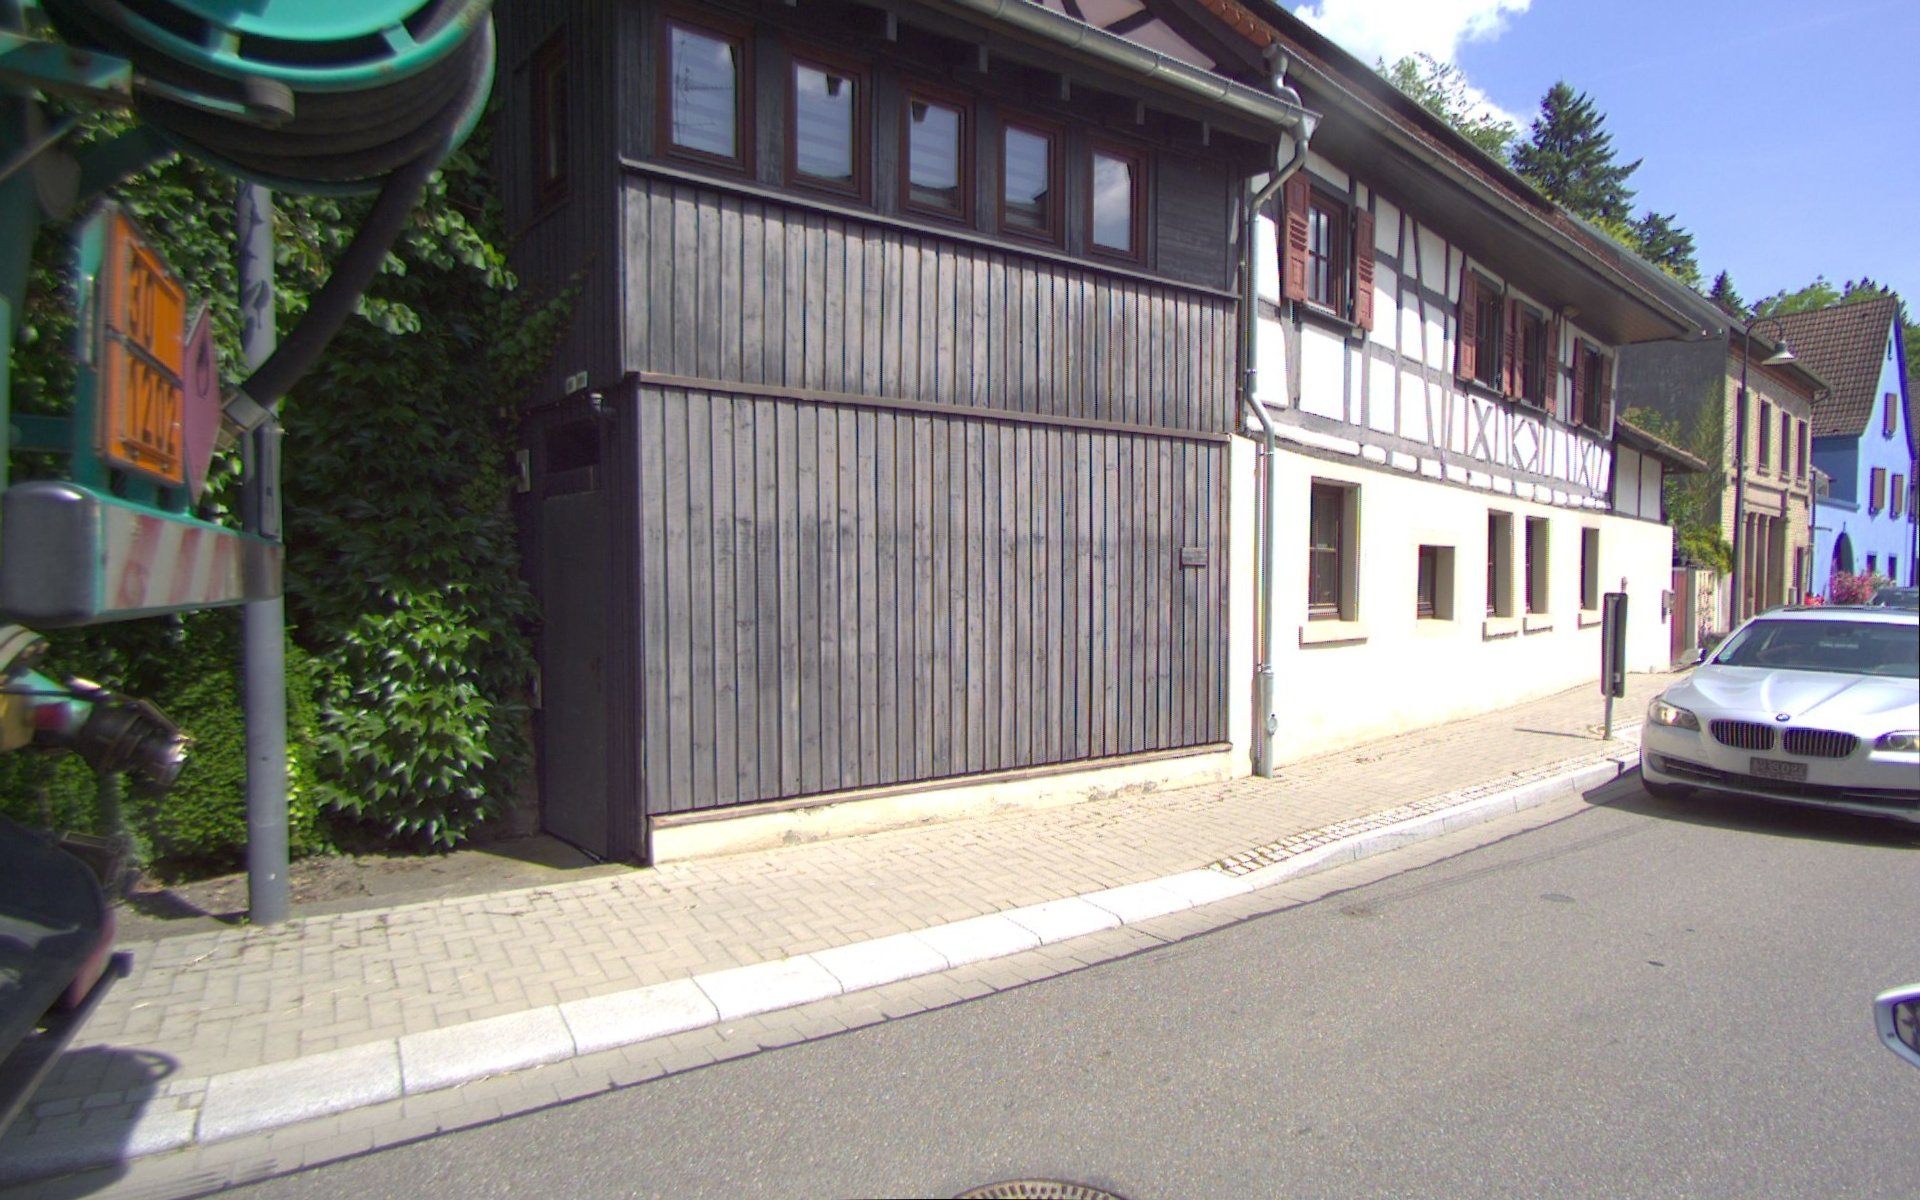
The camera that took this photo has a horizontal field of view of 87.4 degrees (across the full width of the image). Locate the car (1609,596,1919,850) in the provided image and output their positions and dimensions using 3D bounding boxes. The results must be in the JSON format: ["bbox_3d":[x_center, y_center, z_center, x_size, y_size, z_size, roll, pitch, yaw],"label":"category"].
[{"bbox_3d":[7.040,0.752,8.048,4.576,1.520,1.879,1,0,-41],"label":"car"}]

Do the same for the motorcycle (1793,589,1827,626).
[{"bbox_3d":[25.066,0.215,29.615,1.844,1.014,0.414,-1,7,-42],"label":"motorcycle"}]

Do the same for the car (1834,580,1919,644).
[{"bbox_3d":[24.076,0.275,25.726,4.510,1.485,1.939,0,2,-41],"label":"car"}]

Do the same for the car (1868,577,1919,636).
[{"bbox_3d":[27.757,0.171,28.717,4.627,1.484,1.869,-2,6,-39],"label":"car"}]
